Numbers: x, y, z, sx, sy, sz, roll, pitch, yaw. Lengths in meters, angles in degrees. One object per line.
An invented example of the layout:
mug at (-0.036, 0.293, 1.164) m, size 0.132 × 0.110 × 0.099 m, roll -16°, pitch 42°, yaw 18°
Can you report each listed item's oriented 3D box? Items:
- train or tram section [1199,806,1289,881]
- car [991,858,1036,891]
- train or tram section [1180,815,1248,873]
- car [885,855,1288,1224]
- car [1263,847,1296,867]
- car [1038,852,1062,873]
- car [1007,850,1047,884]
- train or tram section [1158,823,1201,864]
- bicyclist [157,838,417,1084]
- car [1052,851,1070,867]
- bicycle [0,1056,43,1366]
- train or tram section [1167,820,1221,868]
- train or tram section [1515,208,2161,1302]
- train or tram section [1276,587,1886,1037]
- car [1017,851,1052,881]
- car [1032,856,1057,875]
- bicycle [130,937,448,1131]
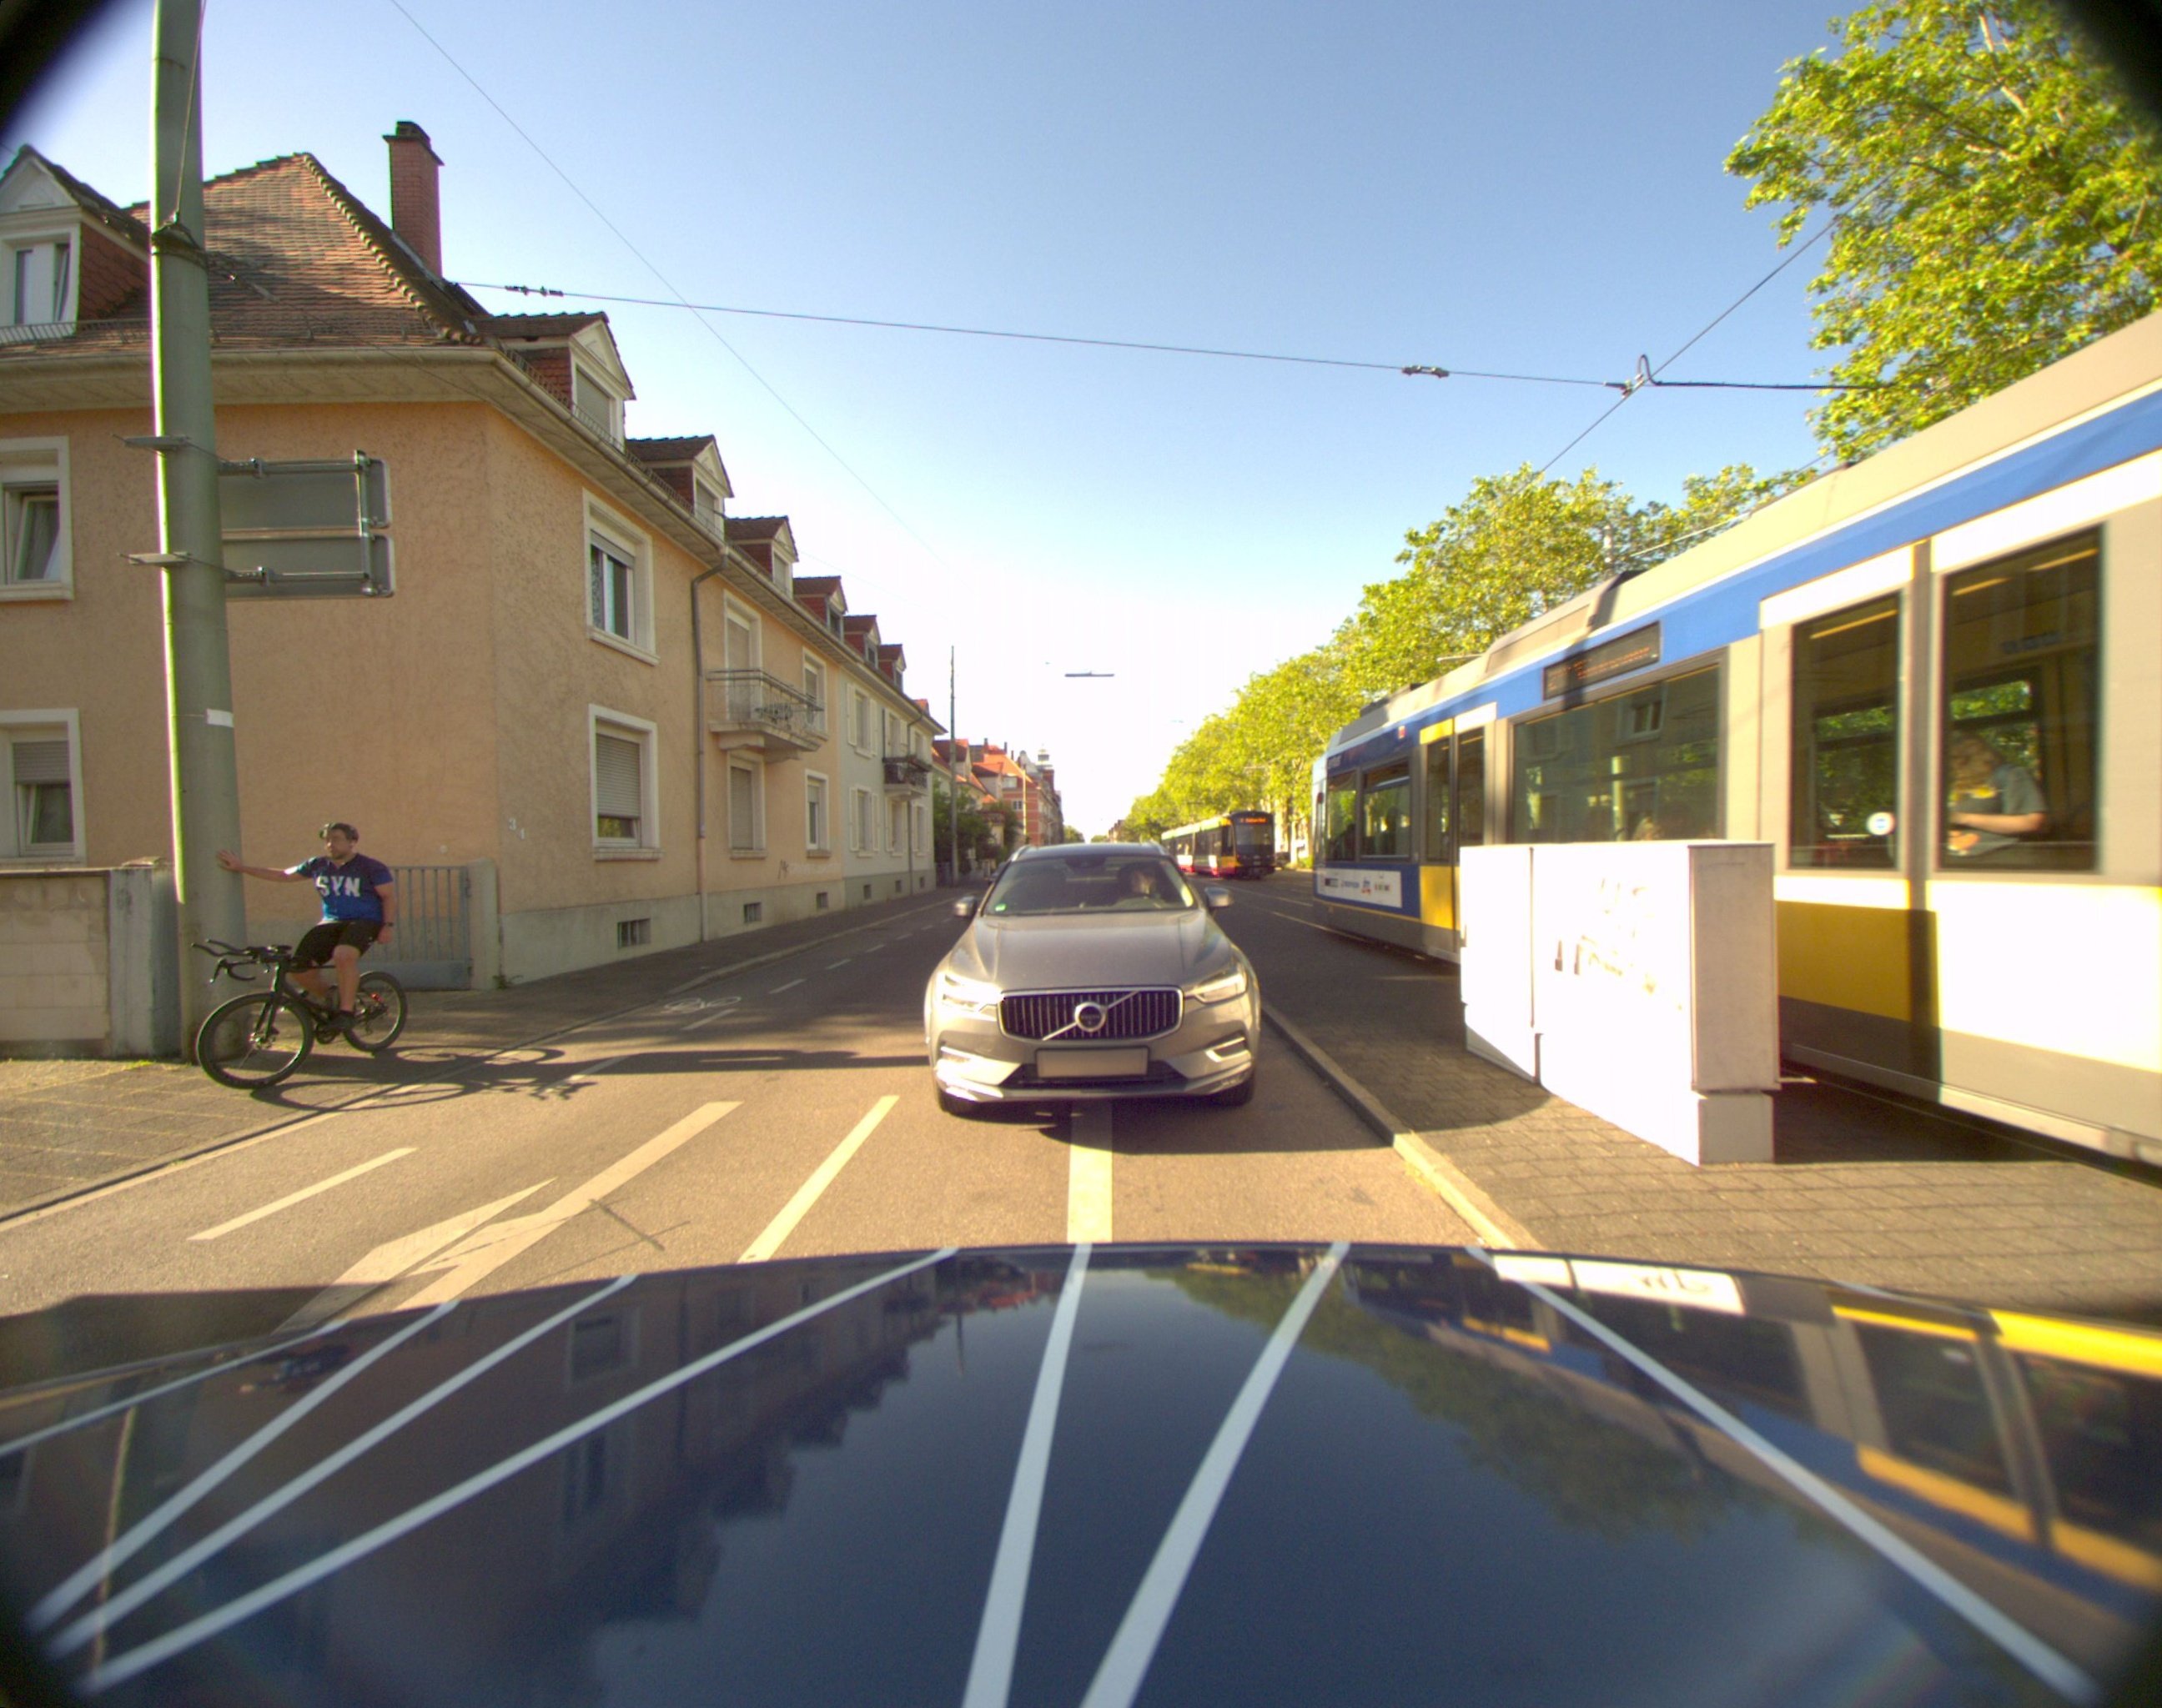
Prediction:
train or tram section at (8.552, -0.574, 41.173) m, size 2.862 × 3.456 × 10.182 m, roll -2°, pitch 1°, yaw 2°
car at (-3.219, 0.948, 36.978) m, size 1.847 × 1.412 × 3.999 m, roll -1°, pitch 0°, yaw -1°
train or tram section at (8.786, -0.671, 51.348) m, size 2.843 × 3.456 × 10.182 m, roll -2°, pitch 1°, yaw 1°
car at (0.008, 0.890, 5.788) m, size 1.892 × 1.695 × 4.318 m, roll -1°, pitch 0°, yaw -1°
car at (17.182, 0.224, 65.895) m, size 1.845 × 1.607 × 4.098 m, roll -4°, pitch 0°, yaw 3°
car at (-2.661, 0.697, 65.771) m, size 1.847 × 1.681 × 4.000 m, roll -1°, pitch 0°, yaw 0°
car at (-2.953, 0.688, 42.284) m, size 1.847 × 1.742 × 4.144 m, roll -1°, pitch 0°, yaw 0°
train or tram section at (9.160, -0.968, 71.686) m, size 2.843 × 3.456 × 10.182 m, roll -2°, pitch 1°, yaw 1°
bicyclist at (-6.168, 0.782, 5.968) m, size 1.071 × 1.728 × 0.853 m, roll 4°, pitch 1°, yaw 1°
car at (-2.227, 0.553, 85.485) m, size 1.999 × 1.641 × 4.658 m, roll -1°, pitch 0°, yaw -1°
bicycle at (-4.192, 1.300, 1.917) m, size 0.611 × 1.081 × 1.809 m, roll -1°, pitch 1°, yaw 1°
train or tram section at (8.966, -0.829, 61.547) m, size 2.843 × 3.456 × 10.182 m, roll -2°, pitch 1°, yaw 1°
train or tram section at (4.844, -0.326, 1.836) m, size 2.821 × 3.479 × 8.462 m, roll -1°, pitch 0°, yaw 1°
train or tram section at (4.964, -0.324, 9.965) m, size 2.821 × 3.479 × 7.962 m, roll -1°, pitch 0°, yaw 1°
car at (-2.798, 0.708, 46.651) m, size 1.847 × 1.681 × 4.000 m, roll -1°, pitch 0°, yaw 0°
car at (-2.866, 0.863, 60.407) m, size 1.808 × 1.402 × 3.999 m, roll -1°, pitch 0°, yaw -1°
bicycle at (-5.925, 1.280, 5.857) m, size 0.594 × 1.045 × 1.719 m, roll 4°, pitch 1°, yaw 1°
